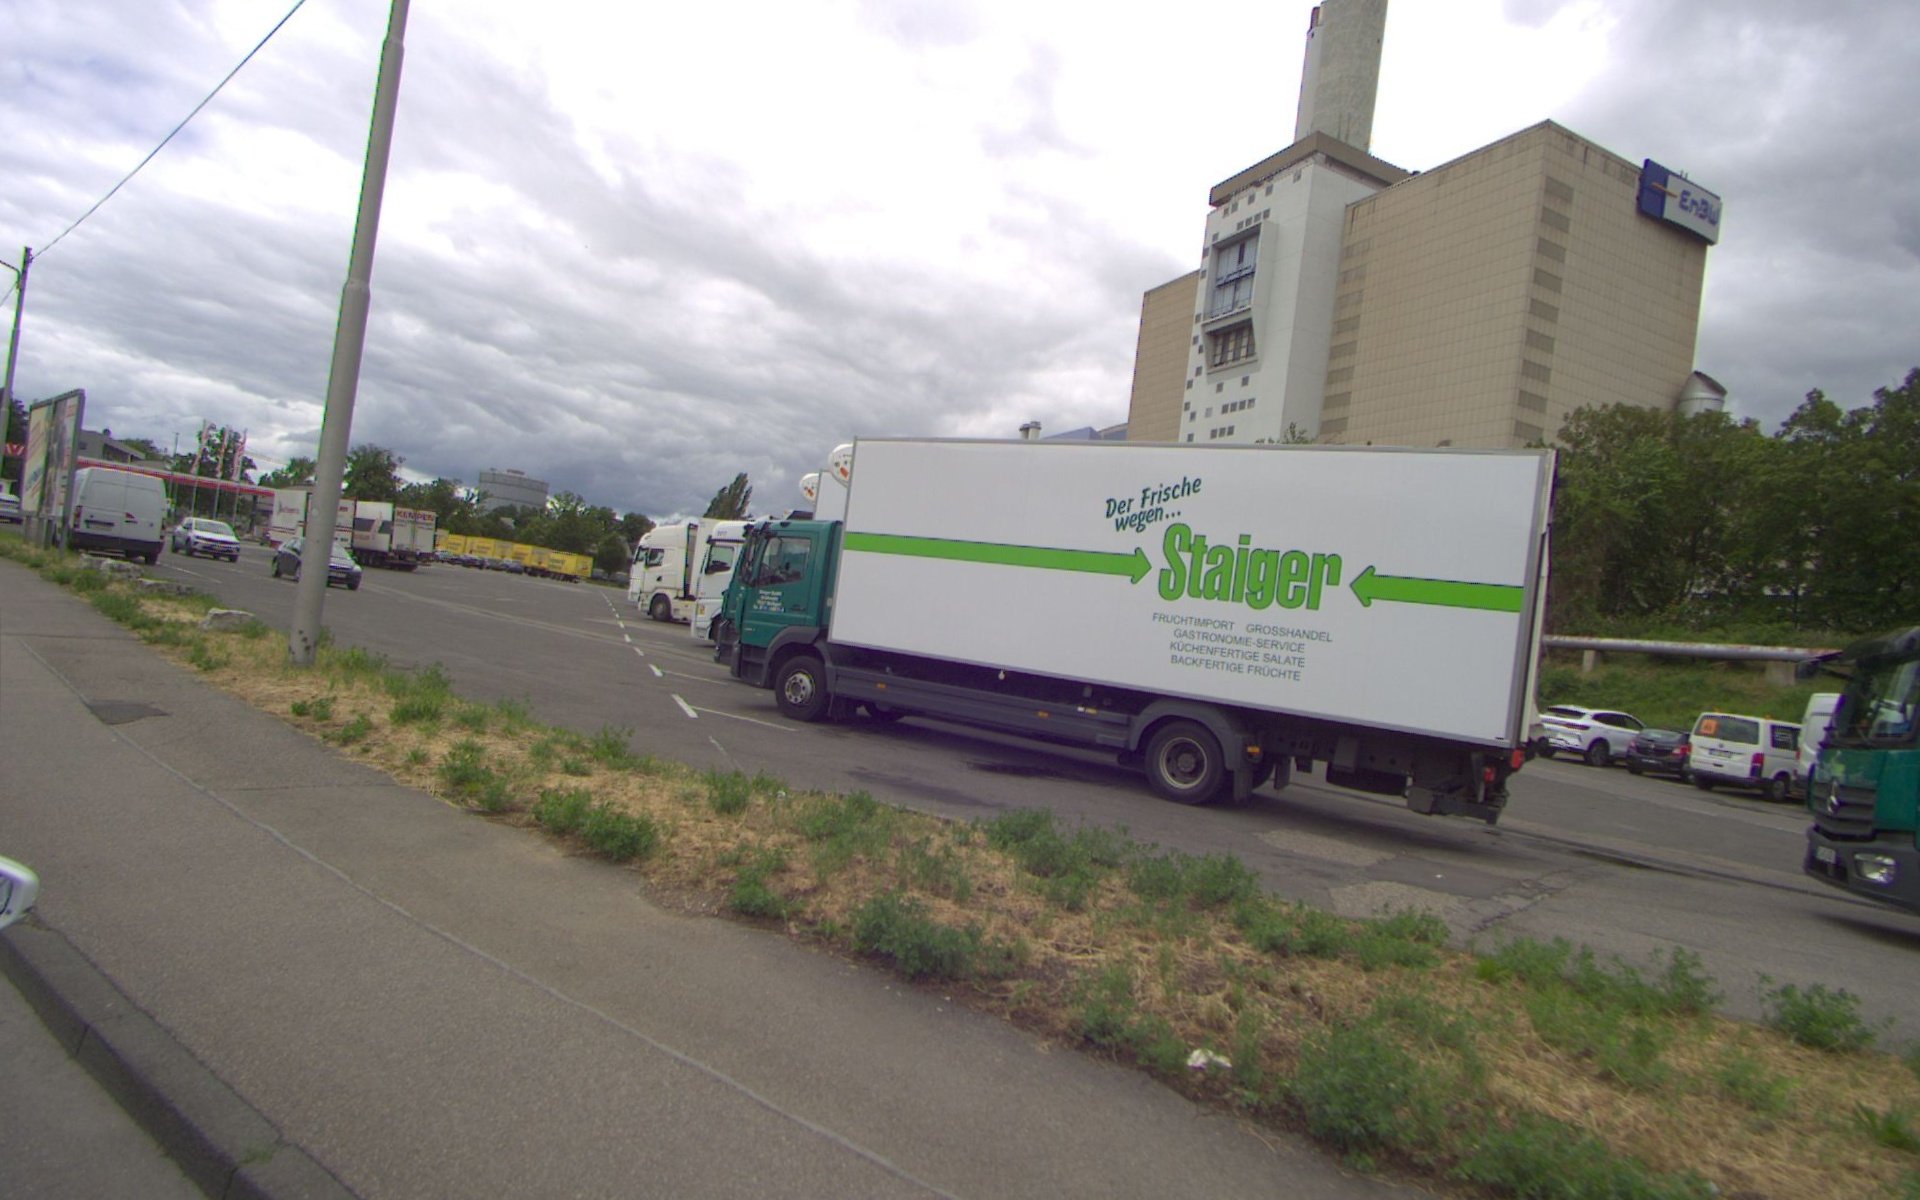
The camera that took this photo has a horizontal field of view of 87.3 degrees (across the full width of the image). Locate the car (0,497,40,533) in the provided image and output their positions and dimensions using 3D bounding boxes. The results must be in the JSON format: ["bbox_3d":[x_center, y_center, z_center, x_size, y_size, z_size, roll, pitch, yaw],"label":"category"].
[{"bbox_3d":[-47.967,-4.340,50.636,4.368,1.461,1.889,5,-4,42],"label":"car"}]

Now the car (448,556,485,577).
[{"bbox_3d":[-50.299,-3.401,102.498,3.945,1.637,1.991,6,-1,42],"label":"car"}]

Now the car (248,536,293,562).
[{"bbox_3d":[-58.728,-4.368,85.685,4.128,1.726,1.992,6,-2,40],"label":"car"}]

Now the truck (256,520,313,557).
[{"bbox_3d":[-72.877,-6.696,108.486,7.406,3.183,3.170,7,-1,43],"label":"truck"}]

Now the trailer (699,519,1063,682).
[{"bbox_3d":[-3.181,-0.146,35.808,13.256,4.229,2.703,7,0,29],"label":"trailer"}]

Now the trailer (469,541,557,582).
[{"bbox_3d":[-59.292,-5.178,132.949,17.781,3.910,3.593,7,-1,43],"label":"trailer"}]

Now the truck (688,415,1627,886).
[{"bbox_3d":[1.680,0.097,12.284,10.259,3.873,2.986,7,-2,31],"label":"truck"}]

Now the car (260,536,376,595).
[{"bbox_3d":[-21.533,-1.186,33.672,4.365,1.461,1.890,6,-4,40],"label":"car"}]

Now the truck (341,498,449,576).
[{"bbox_3d":[-35.802,-4.054,63.569,8.402,4.195,3.301,6,-1,44],"label":"truck"}]

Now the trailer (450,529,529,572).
[{"bbox_3d":[-59.665,-6.325,127.236,14.712,4.200,2.867,7,-1,41],"label":"trailer"}]

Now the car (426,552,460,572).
[{"bbox_3d":[-58.095,-4.276,113.066,3.890,1.637,1.991,7,-1,42],"label":"car"}]

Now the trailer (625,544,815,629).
[{"bbox_3d":[-17.260,-1.049,71.509,14.164,4.258,3.107,7,0,27],"label":"trailer"}]

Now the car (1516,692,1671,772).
[{"bbox_3d":[19.182,3.997,30.490,3.949,1.814,1.990,9,-2,-24],"label":"car"}]

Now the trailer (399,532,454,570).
[{"bbox_3d":[-63.971,-5.877,120.605,7.384,3.738,3.011,7,-1,41],"label":"trailer"}]

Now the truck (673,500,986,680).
[{"bbox_3d":[-3.680,-0.287,28.365,7.889,4.049,3.074,6,-1,21],"label":"truck"}]

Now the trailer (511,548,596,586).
[{"bbox_3d":[-57.863,-4.774,142.818,17.781,3.910,3.593,7,-1,43],"label":"trailer"}]

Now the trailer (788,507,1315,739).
[{"bbox_3d":[2.130,0.401,26.014,12.860,4.025,3.064,7,0,21],"label":"trailer"}]

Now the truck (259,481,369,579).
[{"bbox_3d":[-39.155,-4.294,60.861,8.401,5.154,3.301,6,-1,44],"label":"truck"}]

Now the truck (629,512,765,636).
[{"bbox_3d":[-10.408,-1.015,39.875,4.007,4.263,2.705,7,0,29],"label":"truck"}]

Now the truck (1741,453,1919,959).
[{"bbox_3d":[11.111,1.302,6.845,8.456,3.668,3.075,6,-4,28],"label":"truck"}]

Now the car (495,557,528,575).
[{"bbox_3d":[-52.611,-3.972,117.955,3.945,1.637,1.991,6,-1,42],"label":"car"}]

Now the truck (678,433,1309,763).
[{"bbox_3d":[0.269,-0.274,17.676,10.375,4.482,2.988,6,-3,28],"label":"truck"}]

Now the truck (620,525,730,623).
[{"bbox_3d":[-14.371,-1.289,50.843,4.082,4.266,2.786,7,0,26],"label":"truck"}]

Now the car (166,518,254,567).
[{"bbox_3d":[-31.589,-2.418,42.320,4.365,1.631,1.889,5,-2,40],"label":"car"}]

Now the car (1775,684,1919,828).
[{"bbox_3d":[21.827,3.696,23.183,5.821,2.811,2.015,7,-1,-22],"label":"car"}]

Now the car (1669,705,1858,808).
[{"bbox_3d":[20.457,3.974,25.623,3.948,2.075,1.990,7,-1,-23],"label":"car"}]

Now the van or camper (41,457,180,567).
[{"bbox_3d":[-25.316,-2.593,29.877,6.032,2.679,2.252,5,-2,43],"label":"van or camper"}]

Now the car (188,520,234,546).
[{"bbox_3d":[-61.229,-5.490,82.239,3.943,1.726,1.992,6,-2,40],"label":"car"}]
